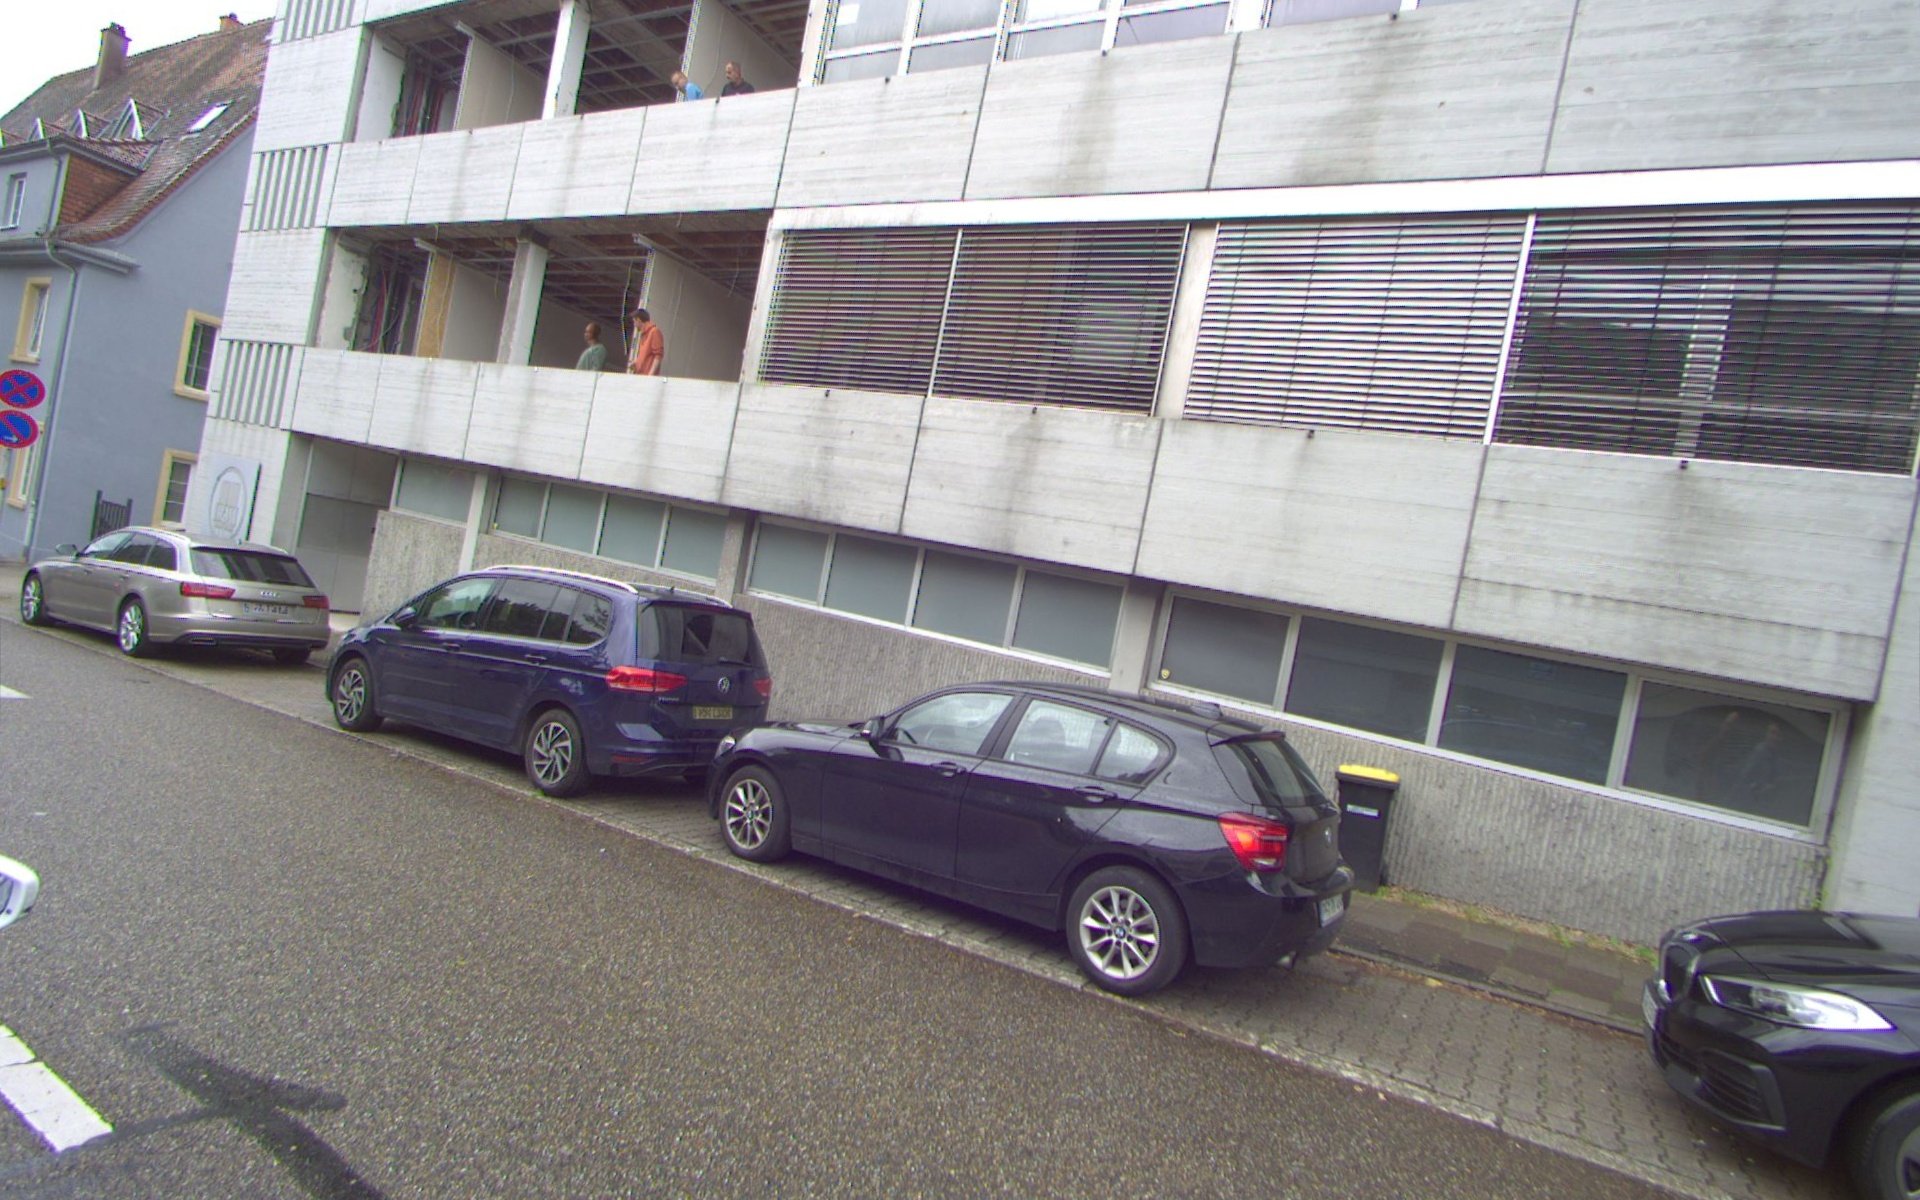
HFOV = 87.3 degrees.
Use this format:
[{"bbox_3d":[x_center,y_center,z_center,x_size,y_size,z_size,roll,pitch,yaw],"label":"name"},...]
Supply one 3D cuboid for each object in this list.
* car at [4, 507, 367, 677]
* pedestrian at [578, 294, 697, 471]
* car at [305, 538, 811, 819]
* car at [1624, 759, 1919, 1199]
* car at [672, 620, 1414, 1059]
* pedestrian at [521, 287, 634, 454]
[{"bbox_3d":[-9.791,-0.126,12.658,4.449,1.465,1.967,7,-1,30],"label":"car"},{"bbox_3d":[-4.221,-2.809,13.197,0.847,2.036,0.909,6,-2,31],"label":"pedestrian"},{"bbox_3d":[-3.517,0.553,8.633,4.090,1.618,1.732,7,-1,30],"label":"car"},{"bbox_3d":[5.100,1.764,3.513,4.367,1.453,1.996,7,1,30],"label":"car"},{"bbox_3d":[0.349,1.152,6.291,4.183,1.465,1.750,7,-1,34],"label":"car"},{"bbox_3d":[-5.317,-3.147,14.005,0.847,2.036,0.909,6,-2,31],"label":"pedestrian"}]
